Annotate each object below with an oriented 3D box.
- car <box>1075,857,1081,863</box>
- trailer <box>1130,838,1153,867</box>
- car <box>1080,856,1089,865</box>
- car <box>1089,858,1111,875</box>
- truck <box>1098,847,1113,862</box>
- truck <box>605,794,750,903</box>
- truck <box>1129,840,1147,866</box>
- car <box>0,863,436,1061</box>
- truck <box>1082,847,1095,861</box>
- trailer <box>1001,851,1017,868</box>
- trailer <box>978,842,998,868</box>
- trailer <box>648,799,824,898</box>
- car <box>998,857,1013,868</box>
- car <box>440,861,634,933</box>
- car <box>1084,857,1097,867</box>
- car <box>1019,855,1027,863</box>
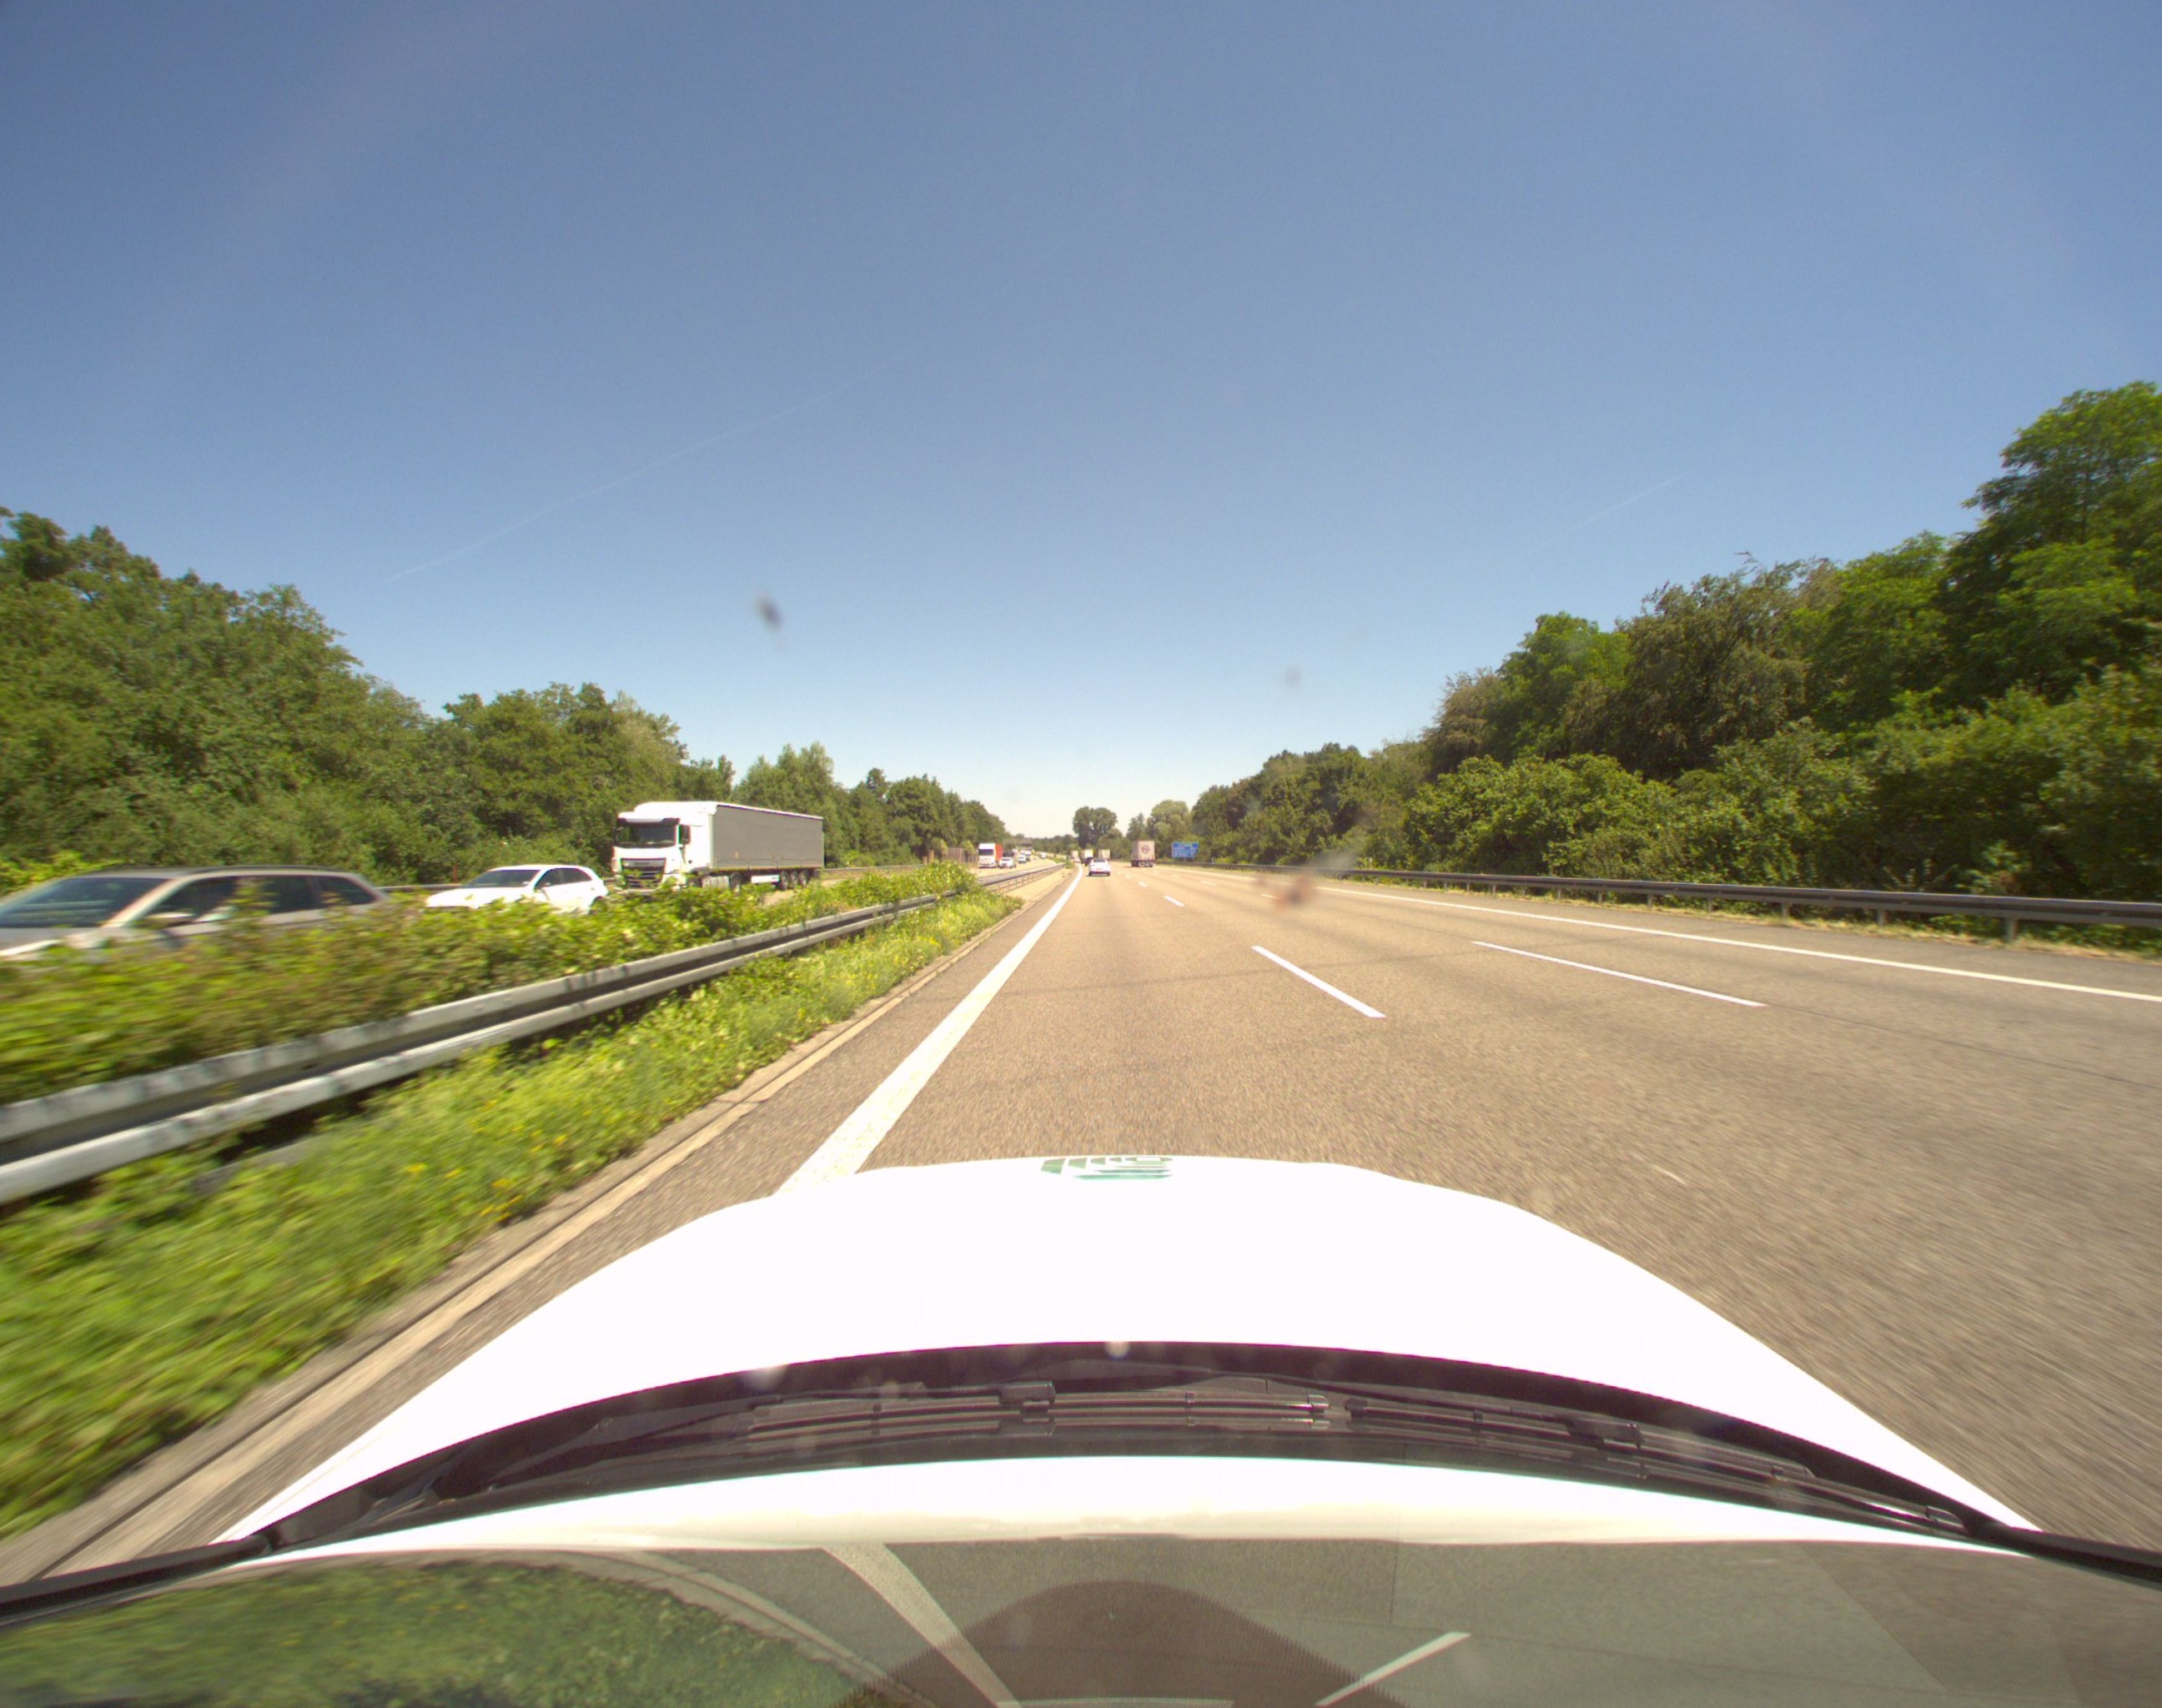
[{"bbox_3d":[-0.902,1.839,253.898,1.720,1.783,3.994,-1,0,-4],"label":"car"},{"bbox_3d":[9.478,-0.194,128.203,2.615,4.261,14.059,-1,0,0],"label":"trailer"},{"bbox_3d":[0.841,1.595,204.667,1.990,2.013,3.993,-1,0,-5],"label":"car"},{"bbox_3d":[1.629,1.021,69.037,1.708,1.369,3.377,-1,0,2],"label":"car"},{"bbox_3d":[7.367,0.233,249.880,3.485,4.311,10.973,-1,0,-4],"label":"truck"},{"bbox_3d":[-16.189,-0.207,33.252,2.652,3.985,6.553,-1,0,0],"label":"truck"},{"bbox_3d":[9.494,-0.164,135.333,2.597,4.287,5.435,-1,0,0],"label":"truck"},{"bbox_3d":[-8.831,0.838,7.940,1.658,1.454,4.126,-1,0,2],"label":"car"},{"bbox_3d":[2.383,-0.055,260.726,3.354,4.311,10.811,-1,0,-4],"label":"truck"},{"bbox_3d":[-11.238,0.861,126.823,2.080,2.613,4.954,-1,0,-1],"label":"trailer"},{"bbox_3d":[-15.258,0.197,133.689,2.681,4.042,6.033,-1,0,-1],"label":"trailer"},{"bbox_3d":[-16.114,-0.185,39.780,2.661,3.966,13.663,-1,0,1],"label":"trailer"},{"bbox_3d":[-11.295,1.320,122.287,1.830,1.632,4.018,-1,0,-1],"label":"car"},{"bbox_3d":[-12.542,0.923,19.152,1.658,1.454,4.126,-1,0,2],"label":"car"},{"bbox_3d":[1.665,1.441,147.022,1.989,1.772,3.995,-1,0,-4],"label":"car"},{"bbox_3d":[-17.415,1.574,243.166,2.022,2.431,5.399,-1,0,-7],"label":"car"}]
